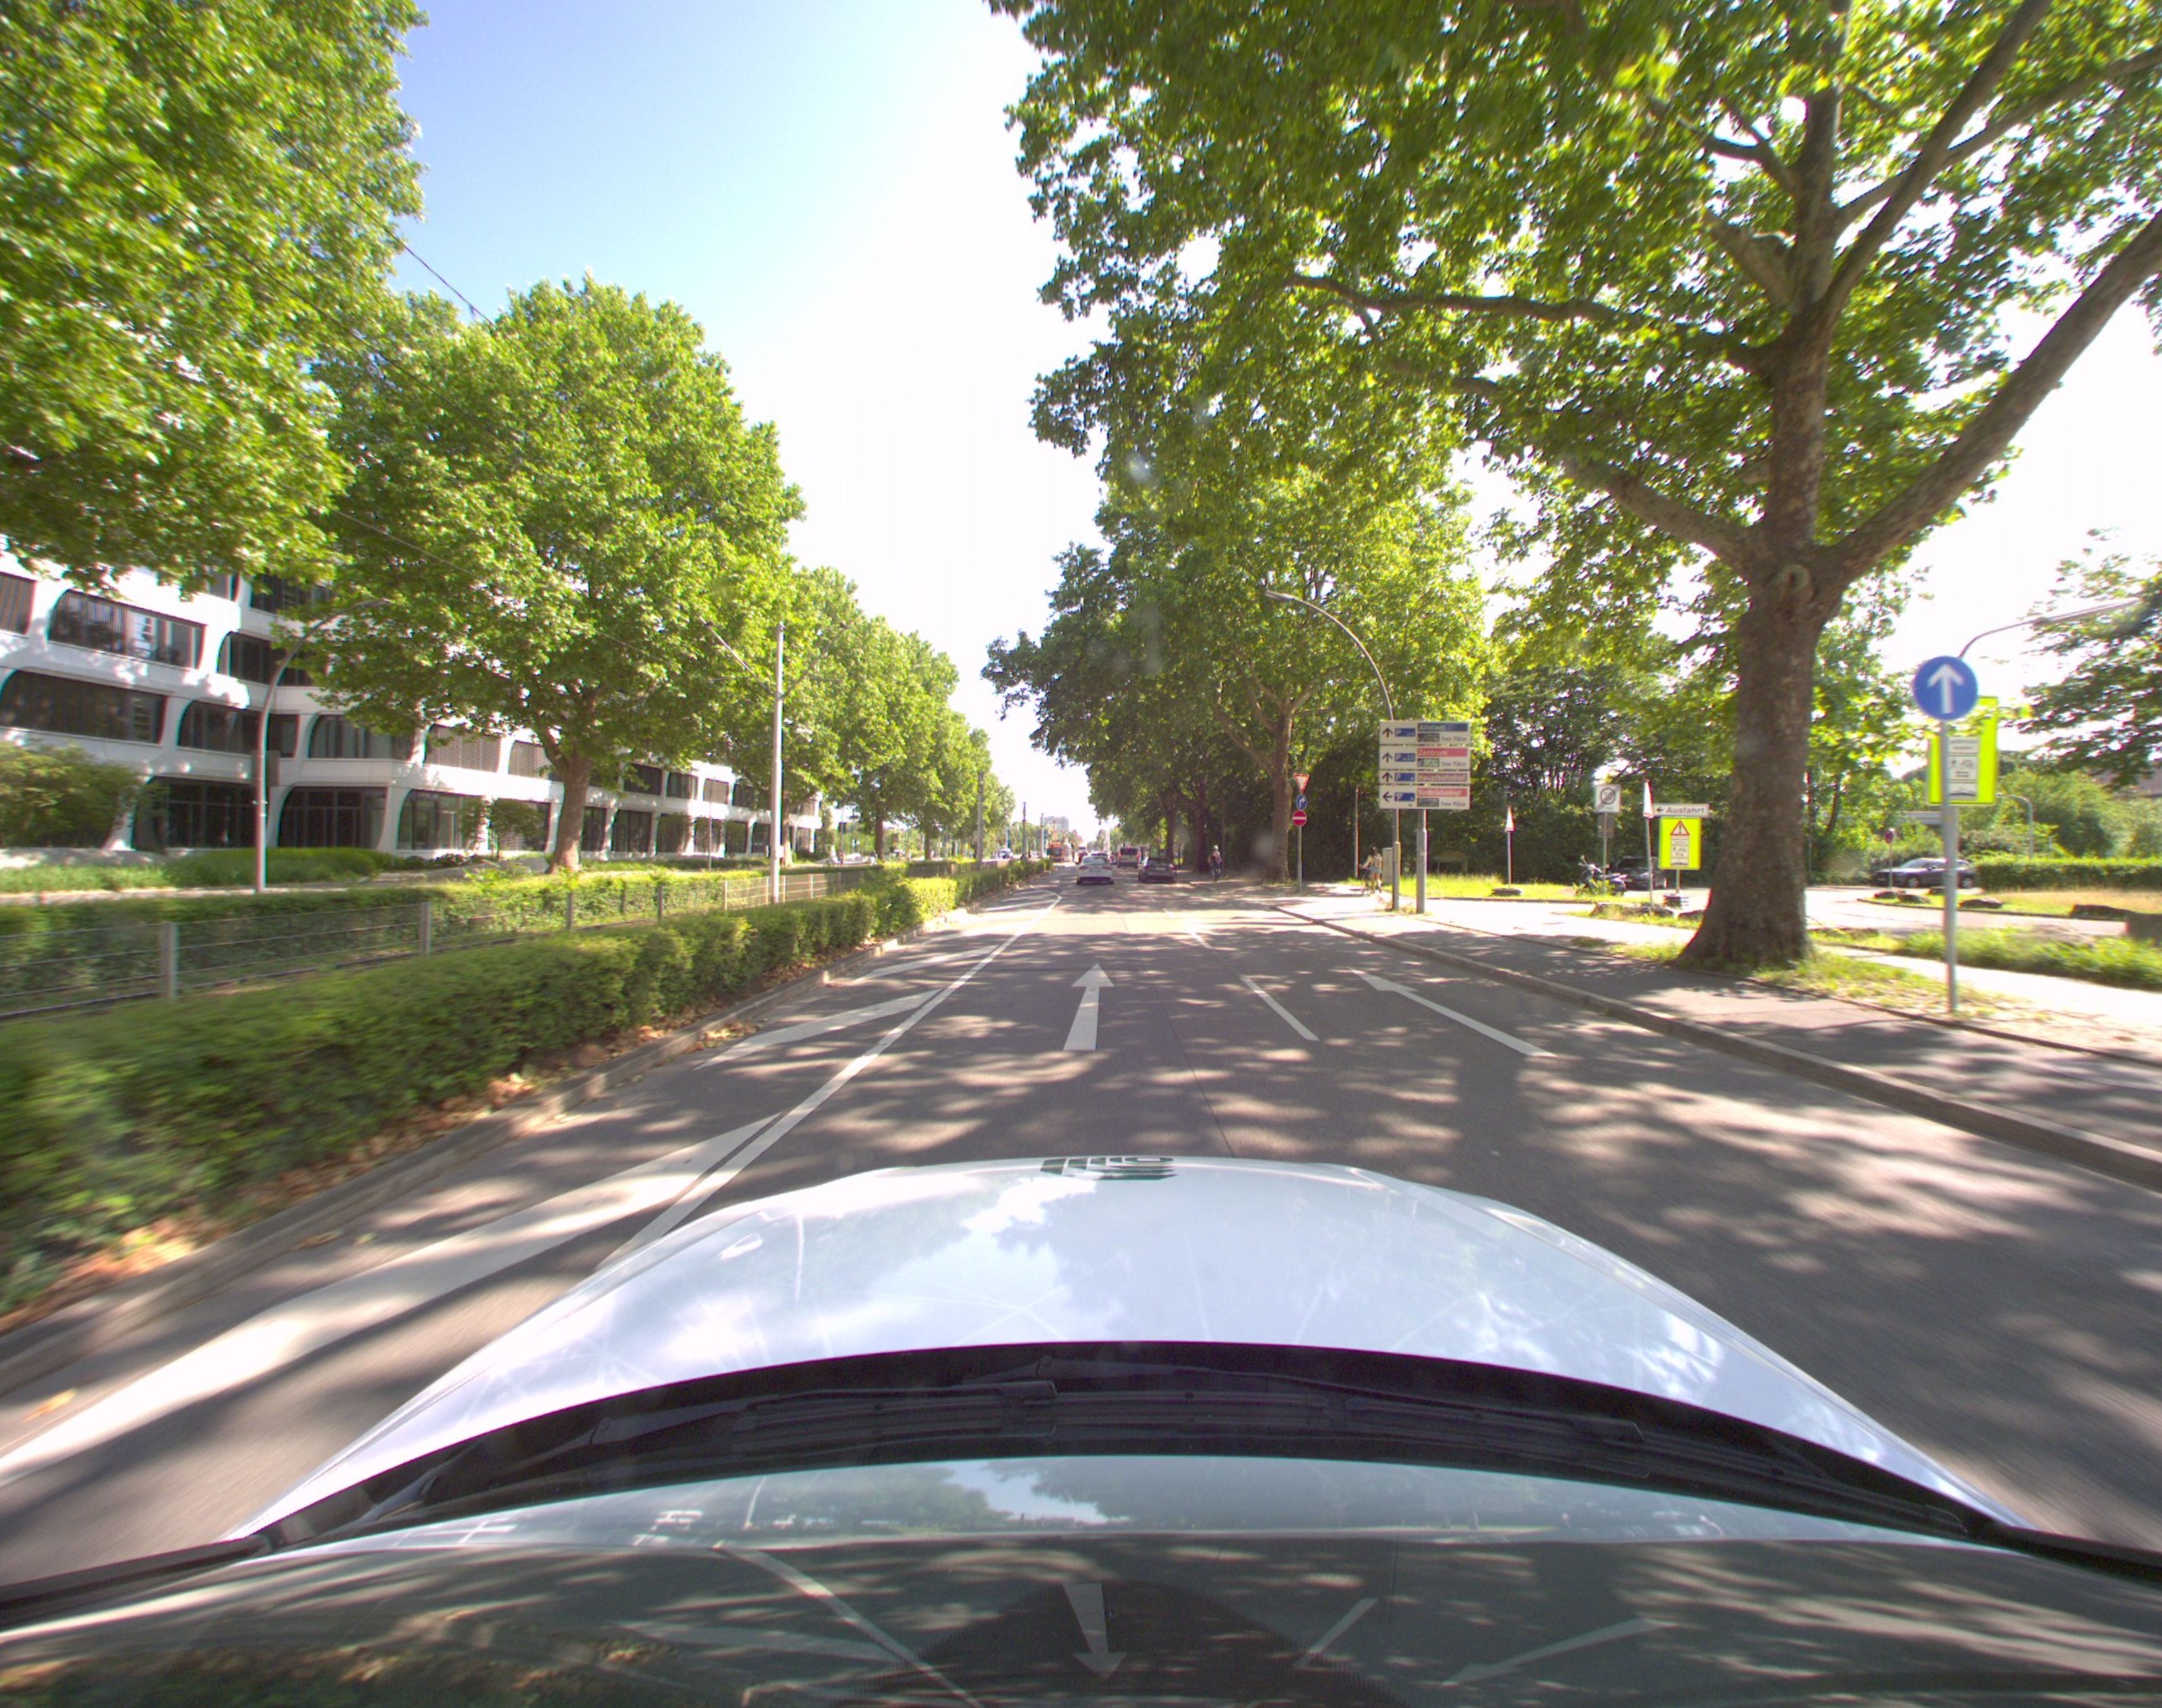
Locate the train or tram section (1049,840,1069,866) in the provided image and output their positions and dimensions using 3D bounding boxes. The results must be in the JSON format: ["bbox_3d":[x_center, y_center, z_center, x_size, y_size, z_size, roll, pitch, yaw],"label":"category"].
[{"bbox_3d":[-3.491,-0.164,129.313,2.607,4.015,7.752,1,0,2],"label":"train or tram section"}]

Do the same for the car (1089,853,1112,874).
[{"bbox_3d":[1.552,0.706,64.189,1.723,1.605,3.886,1,0,1],"label":"car"}]

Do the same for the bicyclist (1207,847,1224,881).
[{"bbox_3d":[6.702,0.502,40.487,0.632,1.648,0.979,-2,1,0],"label":"bicyclist"}]

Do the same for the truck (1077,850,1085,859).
[{"bbox_3d":[0.048,0.053,260.933,1.986,2.790,8.522,1,0,2],"label":"truck"}]

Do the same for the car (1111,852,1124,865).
[{"bbox_3d":[6.267,0.764,139.113,2.064,1.999,4.059,1,0,1],"label":"car"}]

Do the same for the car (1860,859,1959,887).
[{"bbox_3d":[44.066,1.007,43.359,3.985,1.454,1.679,0,0,-8],"label":"car"}]

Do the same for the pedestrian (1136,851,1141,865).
[{"bbox_3d":[8.155,0.580,114.850,0.633,1.946,0.719,1,0,2],"label":"pedestrian"}]

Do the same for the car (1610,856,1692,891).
[{"bbox_3d":[25.665,0.850,36.621,4.015,1.454,1.667,1,0,-33],"label":"car"}]

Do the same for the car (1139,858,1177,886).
[{"bbox_3d":[4.077,0.929,43.508,1.776,1.420,4.001,1,0,1],"label":"car"}]

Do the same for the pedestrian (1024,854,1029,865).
[{"bbox_3d":[-8.619,0.858,128.917,0.590,1.646,0.554,1,0,1],"label":"pedestrian"}]

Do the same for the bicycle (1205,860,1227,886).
[{"bbox_3d":[6.712,0.944,40.513,0.712,1.148,2.179,-2,2,0],"label":"bicycle"}]

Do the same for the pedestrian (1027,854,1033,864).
[{"bbox_3d":[-8.469,0.797,135.504,0.770,1.734,0.756,1,0,10],"label":"pedestrian"}]

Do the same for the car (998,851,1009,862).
[{"bbox_3d":[-17.961,0.535,189.501,2.106,2.383,4.002,0,0,2],"label":"car"}]

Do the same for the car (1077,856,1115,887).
[{"bbox_3d":[0.766,0.832,40.037,1.778,1.420,3.886,1,0,1],"label":"car"}]

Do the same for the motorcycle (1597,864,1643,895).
[{"bbox_3d":[17.347,0.820,26.229,1.217,0.967,0.470,1,0,-6],"label":"motorcycle"}]

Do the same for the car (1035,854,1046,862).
[{"bbox_3d":[-9.194,0.974,185.269,1.986,1.734,4.002,1,0,2],"label":"car"}]

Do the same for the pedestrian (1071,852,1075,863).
[{"bbox_3d":[-1.442,0.630,145.068,0.621,1.918,0.690,1,0,2],"label":"pedestrian"}]

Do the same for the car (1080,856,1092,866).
[{"bbox_3d":[0.827,1.133,133.939,1.723,1.631,4.001,1,0,1],"label":"car"}]

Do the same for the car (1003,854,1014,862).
[{"bbox_3d":[-15.276,0.768,172.429,1.823,1.624,4.897,1,0,1],"label":"car"}]

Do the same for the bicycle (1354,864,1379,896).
[{"bbox_3d":[10.202,0.927,29.140,0.348,1.082,1.699,1,0,1],"label":"bicycle"}]

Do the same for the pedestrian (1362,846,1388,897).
[{"bbox_3d":[10.576,0.624,29.308,0.629,1.785,0.874,1,0,1],"label":"pedestrian"}]

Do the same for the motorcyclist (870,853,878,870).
[{"bbox_3d":[-17.446,0.644,68.656,0.579,1.457,0.533,0,0,1],"label":"motorcyclist"}]

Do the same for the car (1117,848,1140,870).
[{"bbox_3d":[4.899,0.488,83.910,2.222,2.212,4.163,1,0,1],"label":"car"}]

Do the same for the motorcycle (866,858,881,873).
[{"bbox_3d":[-17.459,0.951,68.591,0.630,1.175,2.000,0,0,1],"label":"motorcycle"}]
